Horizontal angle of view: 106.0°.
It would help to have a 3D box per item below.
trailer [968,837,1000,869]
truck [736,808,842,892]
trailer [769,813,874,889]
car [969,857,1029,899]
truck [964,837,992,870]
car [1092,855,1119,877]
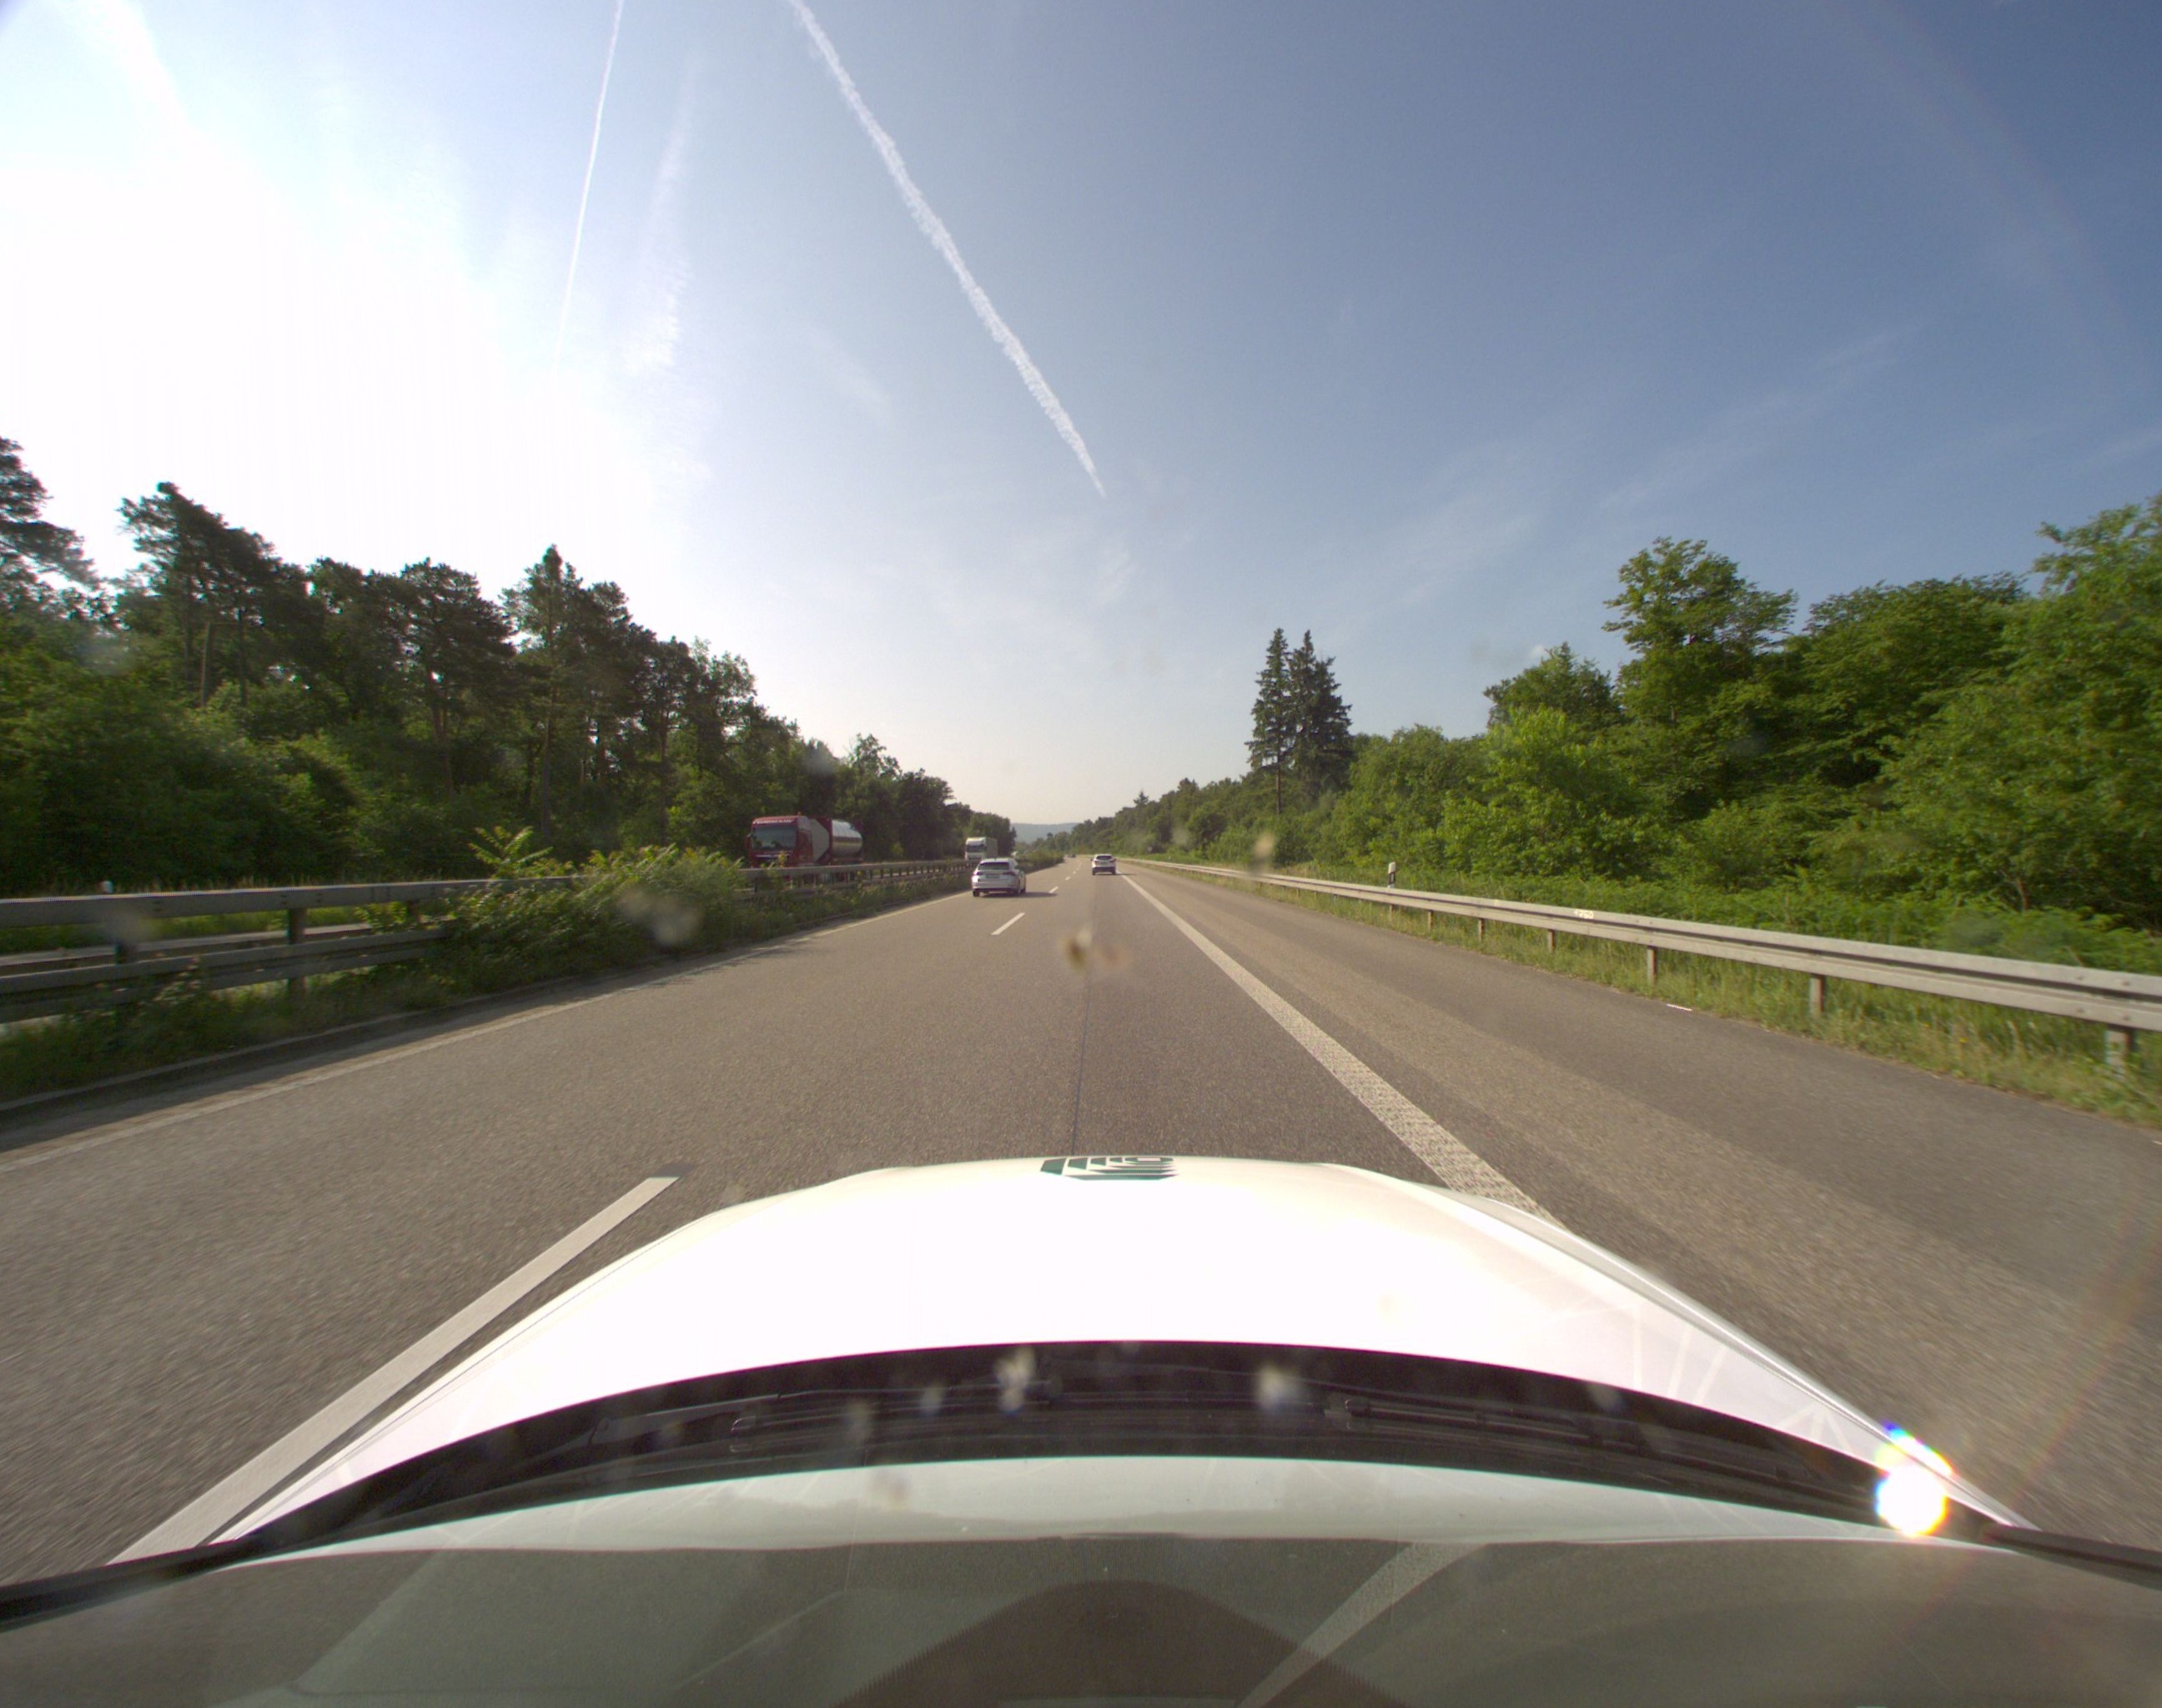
[{"bbox_3d":[-13.682,-0.068,115.631,2.823,4.208,12.410,-2,0,0],"label":"trailer"},{"bbox_3d":[-15.062,-0.158,42.590,3.256,4.039,6.232,-1,-1,0],"label":"truck"},{"bbox_3d":[-14.967,-0.110,47.849,3.283,4.039,8.375,-1,-1,1],"label":"trailer"},{"bbox_3d":[-3.188,0.896,32.626,1.786,1.438,5.278,-2,0,1],"label":"car"},{"bbox_3d":[-13.711,-0.084,108.635,2.828,4.196,5.546,-2,0,0],"label":"truck"},{"bbox_3d":[1.865,0.890,62.830,1.868,1.586,3.998,1,0,-1],"label":"car"}]
